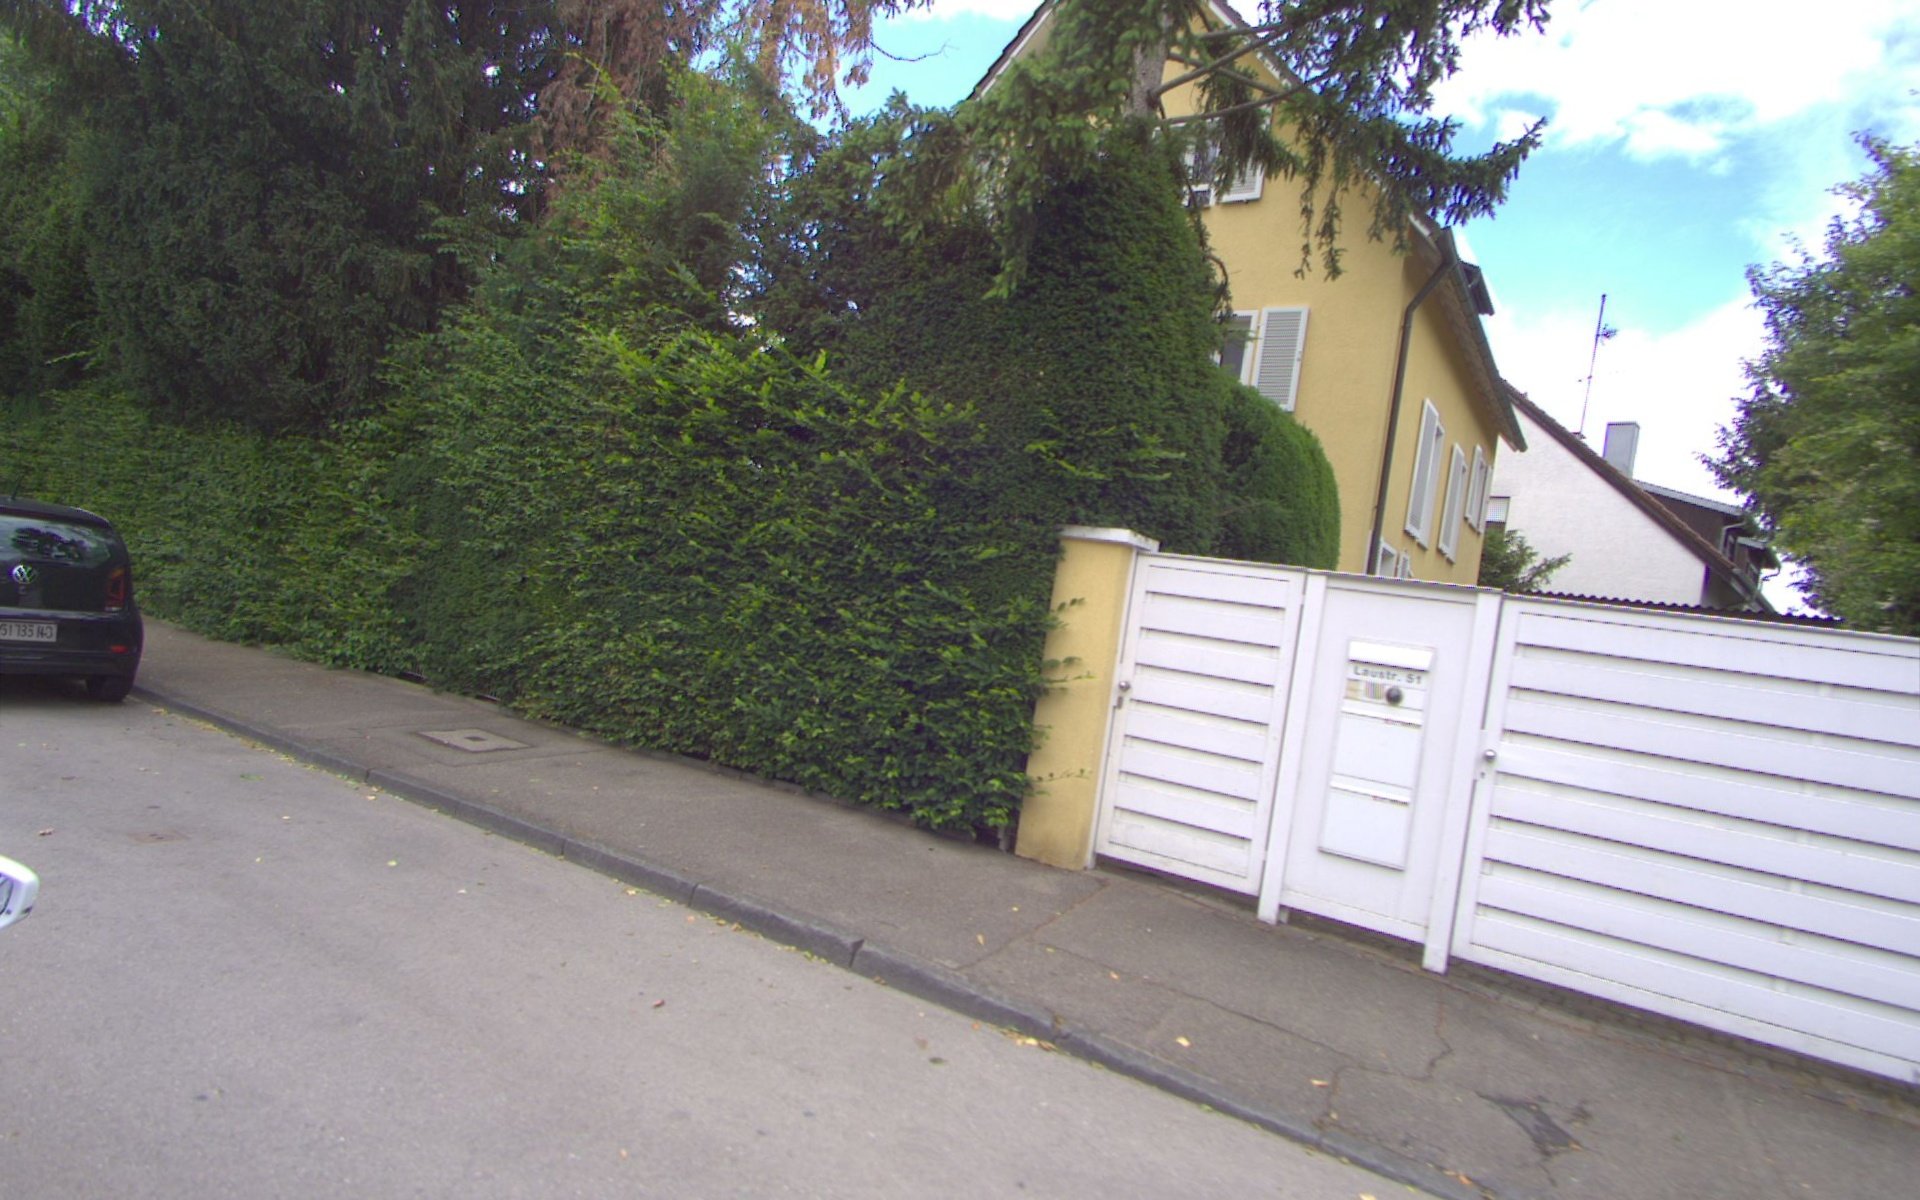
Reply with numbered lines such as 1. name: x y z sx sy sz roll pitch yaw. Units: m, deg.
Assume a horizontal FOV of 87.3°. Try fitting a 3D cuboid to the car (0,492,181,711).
1. car: -8.117 -0.159 8.079 3.678 1.490 1.626 8 -1 31
